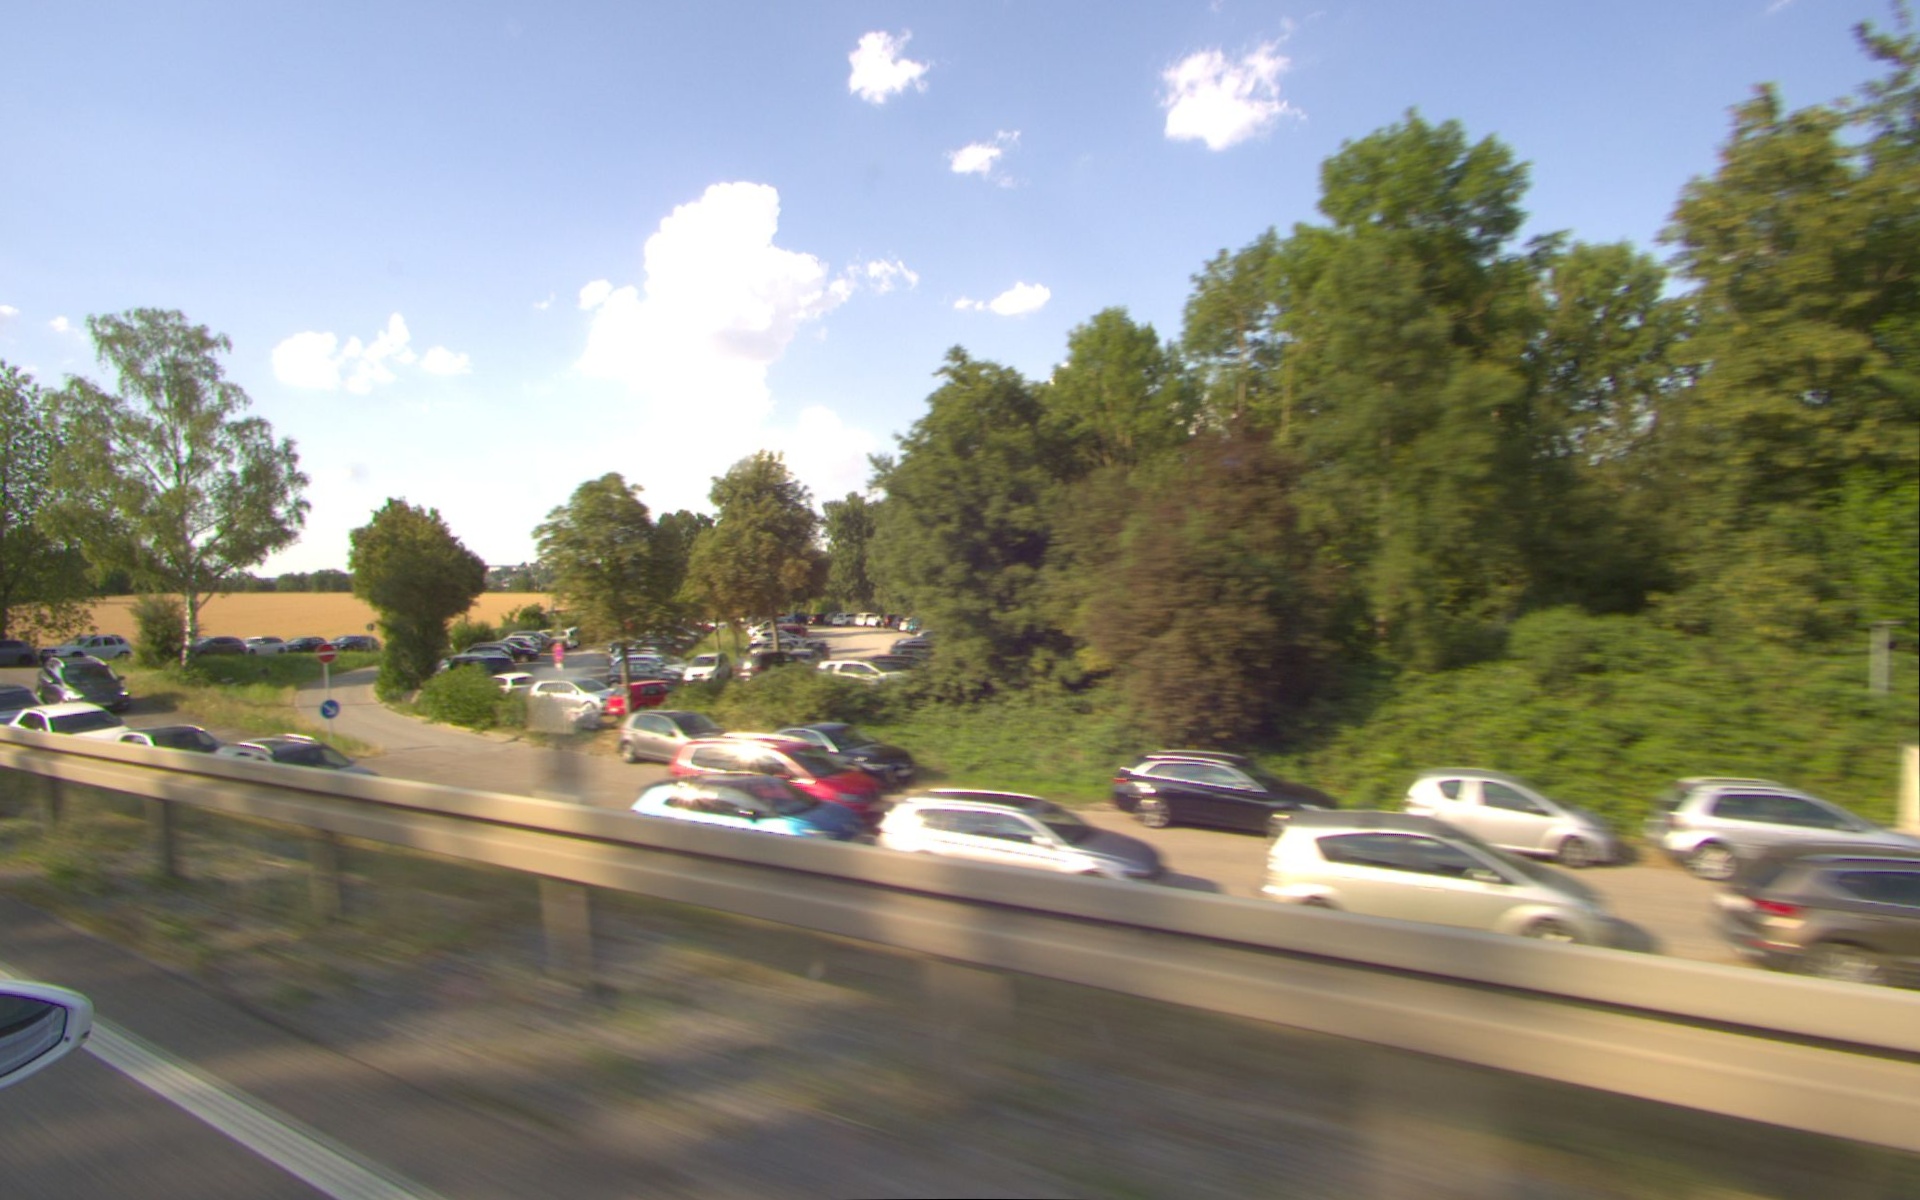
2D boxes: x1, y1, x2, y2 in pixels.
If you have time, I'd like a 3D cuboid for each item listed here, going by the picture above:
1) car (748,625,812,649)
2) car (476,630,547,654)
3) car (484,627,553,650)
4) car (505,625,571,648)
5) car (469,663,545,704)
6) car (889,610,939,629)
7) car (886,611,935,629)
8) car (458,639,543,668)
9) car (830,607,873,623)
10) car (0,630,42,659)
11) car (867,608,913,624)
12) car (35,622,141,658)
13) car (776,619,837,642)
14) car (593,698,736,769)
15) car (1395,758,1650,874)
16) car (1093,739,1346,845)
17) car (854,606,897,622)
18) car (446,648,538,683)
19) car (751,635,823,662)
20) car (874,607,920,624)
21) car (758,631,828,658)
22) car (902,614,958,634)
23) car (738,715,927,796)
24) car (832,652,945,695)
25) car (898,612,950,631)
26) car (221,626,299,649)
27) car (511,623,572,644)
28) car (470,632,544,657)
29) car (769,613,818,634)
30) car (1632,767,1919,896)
[{"bbox_3d":[-13.408,2.738,74.919,4.507,1.713,1.803,0,0,-3],"label":"car"},{"bbox_3d":[-33.112,3.082,74.061,4.510,1.713,1.802,0,0,-10],"label":"car"},{"bbox_3d":[-33.809,2.932,76.747,4.510,1.713,1.802,0,0,-10],"label":"car"},{"bbox_3d":[-33.761,2.891,80.191,4.510,1.713,1.802,0,0,-10],"label":"car"},{"bbox_3d":[-20.446,3.720,45.109,4.246,1.506,1.679,0,0,44],"label":"car"},{"bbox_3d":[-4.326,1.829,95.086,4.508,1.713,1.803,0,0,8],"label":"car"},{"bbox_3d":[-4.836,1.918,97.540,4.508,1.713,1.803,0,0,8],"label":"car"},{"bbox_3d":[-28.770,3.332,62.783,4.510,1.713,1.802,0,0,-10],"label":"car"},{"bbox_3d":[-11.978,1.657,110.530,4.510,1.713,1.802,0,0,-10],"label":"car"},{"bbox_3d":[-48.490,2.205,49.860,1.777,1.459,3.730,0,-2,11],"label":"car"},{"bbox_3d":[-7.405,1.713,105.920,4.508,1.713,1.803,0,0,8],"label":"car"},{"bbox_3d":[-47.788,2.164,54.985,1.777,1.771,4.215,0,0,9],"label":"car"},{"bbox_3d":[-11.943,2.372,78.138,4.507,1.713,1.803,0,0,-3],"label":"car"},{"bbox_3d":[-8.555,3.804,28.959,4.040,1.418,1.696,1,4,32],"label":"car"},{"bbox_3d":[10.050,3.850,18.238,3.880,1.418,1.700,-1,3,25],"label":"car"},{"bbox_3d":[5.245,3.811,20.379,4.710,1.418,1.698,-1,3,28],"label":"car"},{"bbox_3d":[-9.166,1.551,108.988,4.511,1.713,1.802,0,0,-11],"label":"car"},{"bbox_3d":[-26.109,3.647,55.936,4.531,1.713,1.794,0,0,-31],"label":"car"},{"bbox_3d":[-11.429,3.193,66.316,4.507,1.713,1.803,0,0,-3],"label":"car"},{"bbox_3d":[-6.499,1.618,103.678,4.508,1.713,1.803,0,0,8],"label":"car"},{"bbox_3d":[-11.429,3.043,68.707,4.507,1.713,1.803,0,0,-3],"label":"car"},{"bbox_3d":[-2.560,2.059,86.017,4.508,1.713,1.803,0,0,8],"label":"car"},{"bbox_3d":[-3.255,3.840,25.232,4.716,1.418,1.697,-1,2,32],"label":"car"},{"bbox_3d":[-3.159,3.271,44.802,4.690,1.580,1.897,2,1,9],"label":"car"},{"bbox_3d":[-3.260,1.987,91.950,4.508,1.713,1.803,0,0,8],"label":"car"},{"bbox_3d":[-47.348,2.511,67.840,1.961,1.526,4.645,0,-1,1],"label":"car"},{"bbox_3d":[-36.068,2.846,86.422,4.510,1.713,1.802,0,0,-10],"label":"car"},{"bbox_3d":[-32.221,3.144,71.295,4.510,1.713,1.802,0,0,-10],"label":"car"},{"bbox_3d":[-15.955,2.248,96.123,4.507,1.917,1.803,0,0,-3],"label":"car"},{"bbox_3d":[13.712,3.789,16.702,3.879,1.530,1.702,-1,0,23],"label":"car"}]
